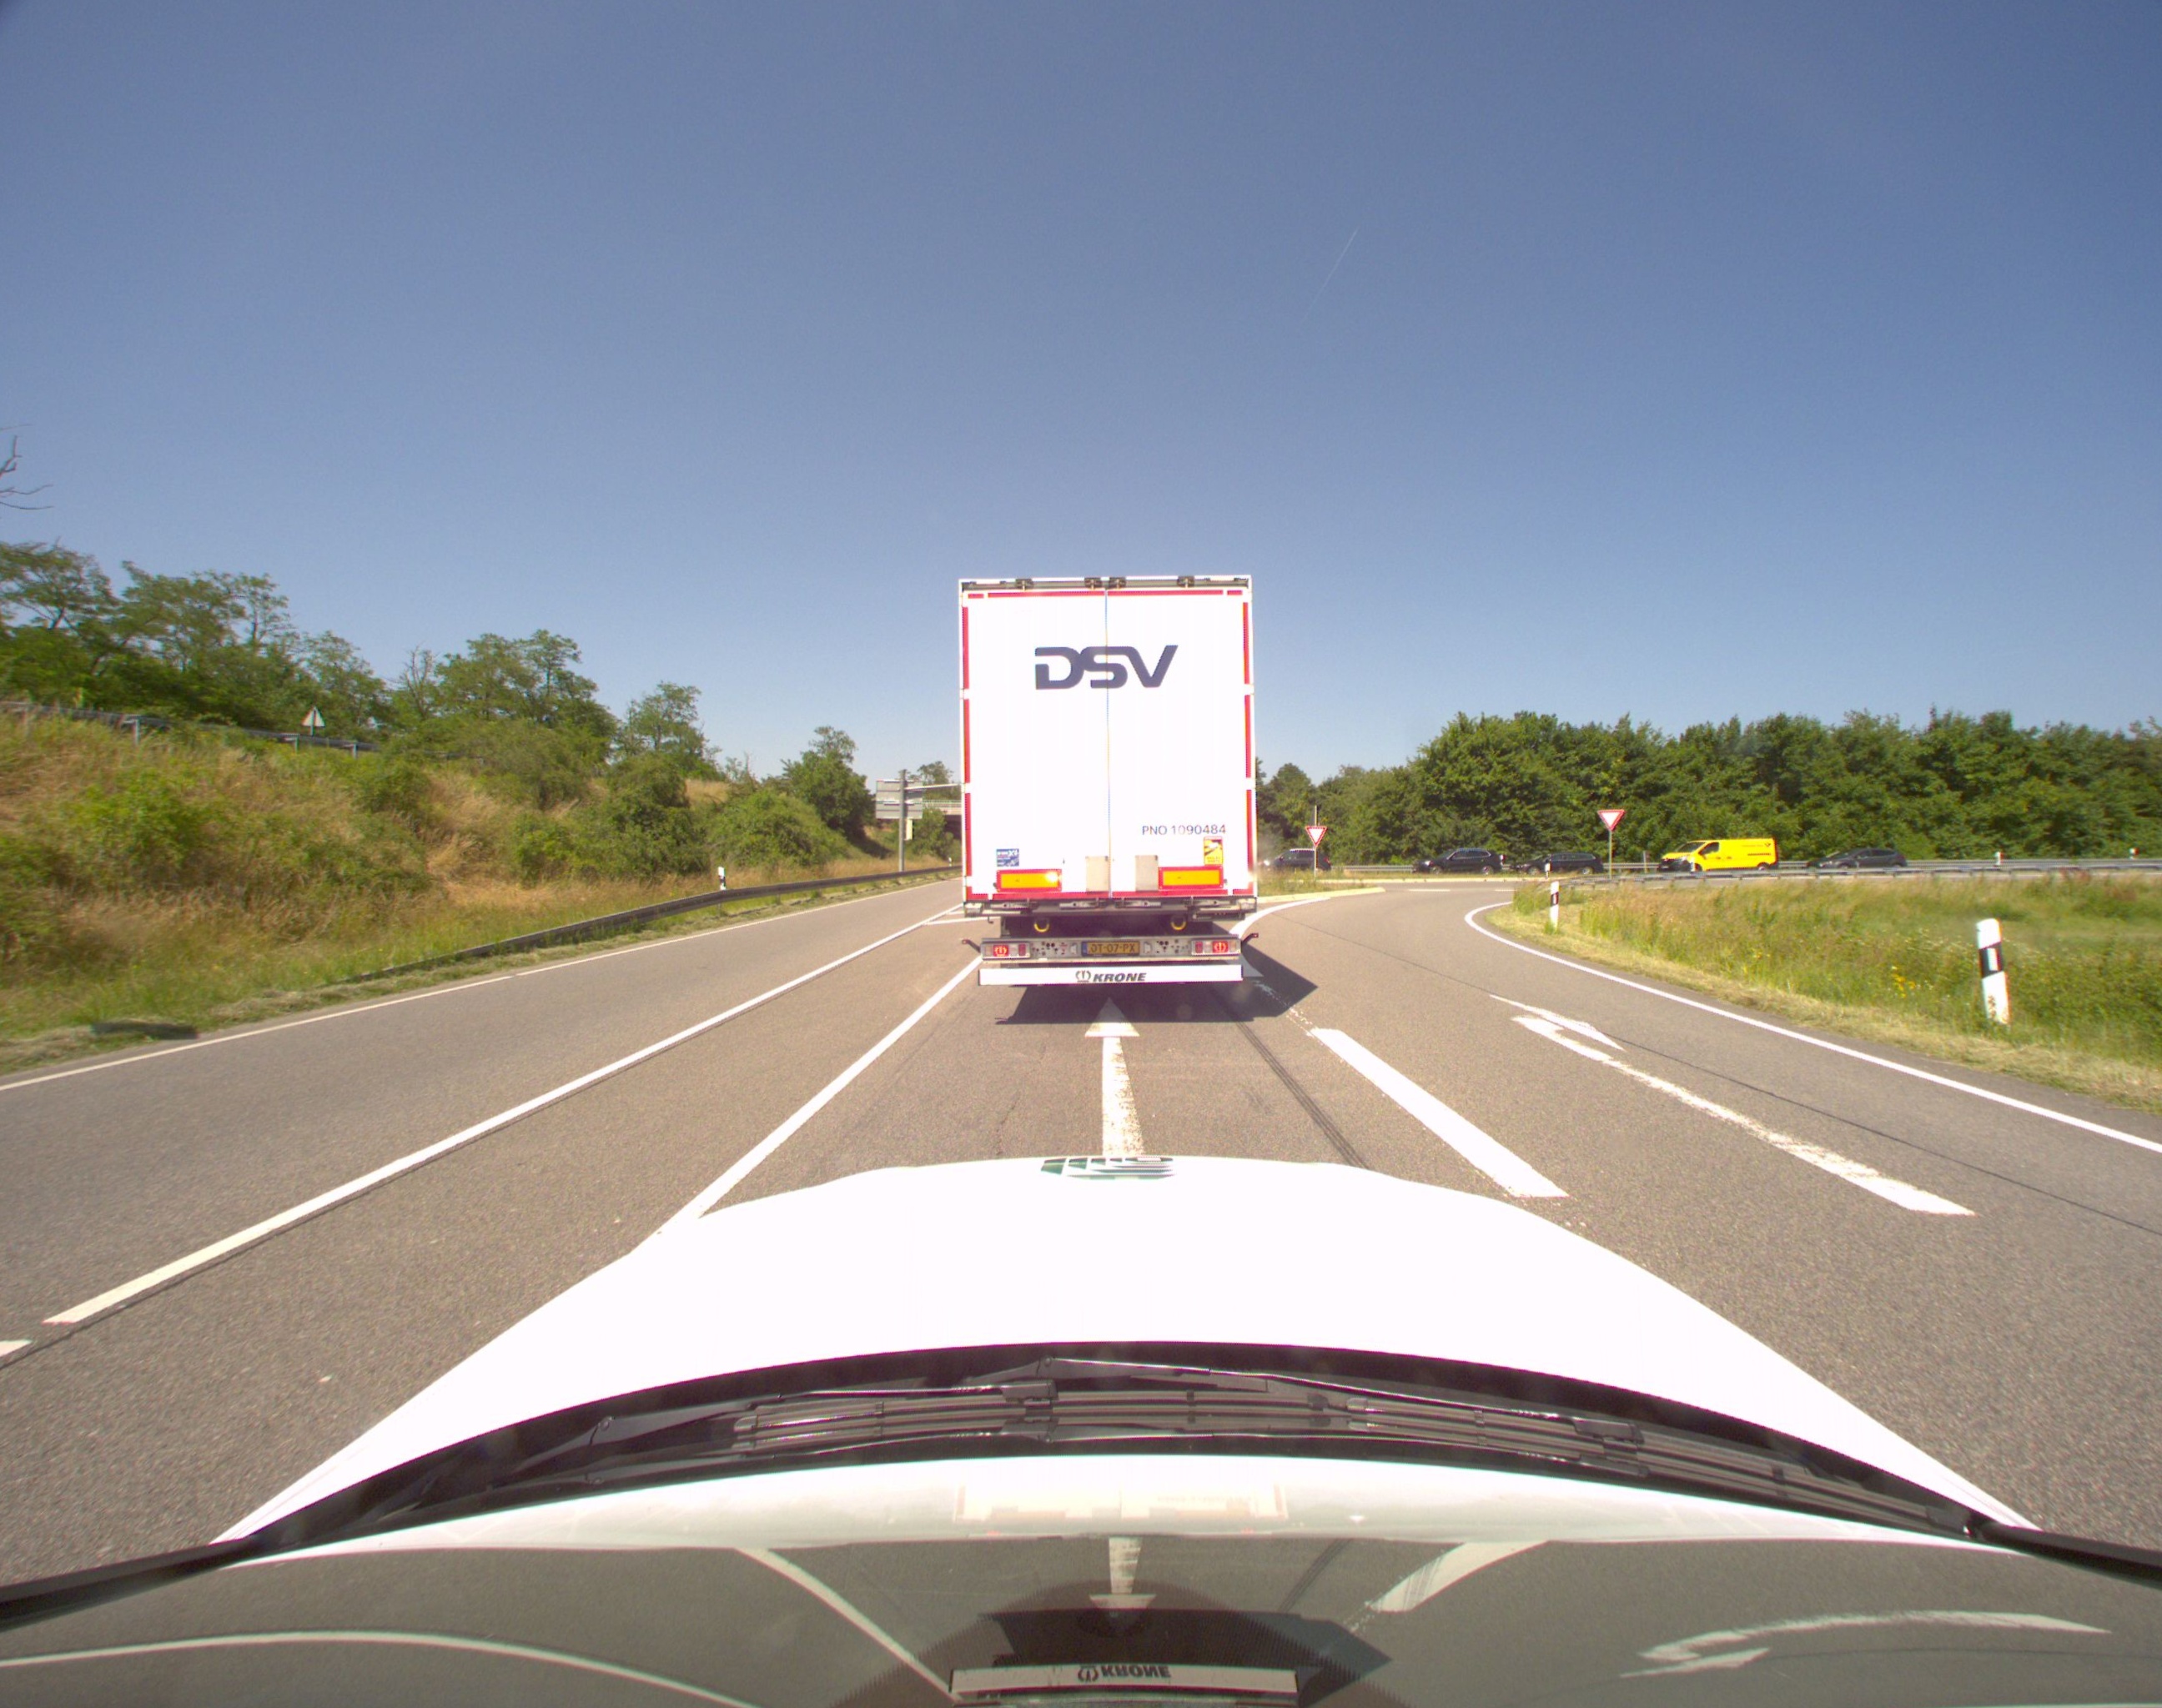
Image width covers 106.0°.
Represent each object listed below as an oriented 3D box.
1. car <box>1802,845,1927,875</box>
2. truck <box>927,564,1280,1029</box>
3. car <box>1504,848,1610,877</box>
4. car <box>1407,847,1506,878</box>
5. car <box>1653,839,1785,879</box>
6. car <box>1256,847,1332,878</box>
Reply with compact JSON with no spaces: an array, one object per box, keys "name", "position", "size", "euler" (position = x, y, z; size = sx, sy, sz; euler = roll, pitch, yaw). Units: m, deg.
[{"name":"car","position":[41.192,0.331,42.882],"size":[4.662,1.514,1.855],"euler":[-1,-1,3]},{"name":"truck","position":[0.298,-0.476,11.903],"size":[2.977,3.942,9.877],"euler":[-1,0,1]},{"name":"car","position":[26.198,0.494,44.964],"size":[4.655,1.514,1.858],"euler":[-1,-1,8]},{"name":"car","position":[20.137,0.471,43.789],"size":[4.466,1.598,1.769],"euler":[-1,-1,4]},{"name":"car","position":[33.628,0.251,43.019],"size":[5.301,2.014,2.001],"euler":[-1,-1,2]},{"name":"car","position":[12.016,0.490,46.250],"size":[3.964,1.640,1.845],"euler":[-1,-1,7]}]
